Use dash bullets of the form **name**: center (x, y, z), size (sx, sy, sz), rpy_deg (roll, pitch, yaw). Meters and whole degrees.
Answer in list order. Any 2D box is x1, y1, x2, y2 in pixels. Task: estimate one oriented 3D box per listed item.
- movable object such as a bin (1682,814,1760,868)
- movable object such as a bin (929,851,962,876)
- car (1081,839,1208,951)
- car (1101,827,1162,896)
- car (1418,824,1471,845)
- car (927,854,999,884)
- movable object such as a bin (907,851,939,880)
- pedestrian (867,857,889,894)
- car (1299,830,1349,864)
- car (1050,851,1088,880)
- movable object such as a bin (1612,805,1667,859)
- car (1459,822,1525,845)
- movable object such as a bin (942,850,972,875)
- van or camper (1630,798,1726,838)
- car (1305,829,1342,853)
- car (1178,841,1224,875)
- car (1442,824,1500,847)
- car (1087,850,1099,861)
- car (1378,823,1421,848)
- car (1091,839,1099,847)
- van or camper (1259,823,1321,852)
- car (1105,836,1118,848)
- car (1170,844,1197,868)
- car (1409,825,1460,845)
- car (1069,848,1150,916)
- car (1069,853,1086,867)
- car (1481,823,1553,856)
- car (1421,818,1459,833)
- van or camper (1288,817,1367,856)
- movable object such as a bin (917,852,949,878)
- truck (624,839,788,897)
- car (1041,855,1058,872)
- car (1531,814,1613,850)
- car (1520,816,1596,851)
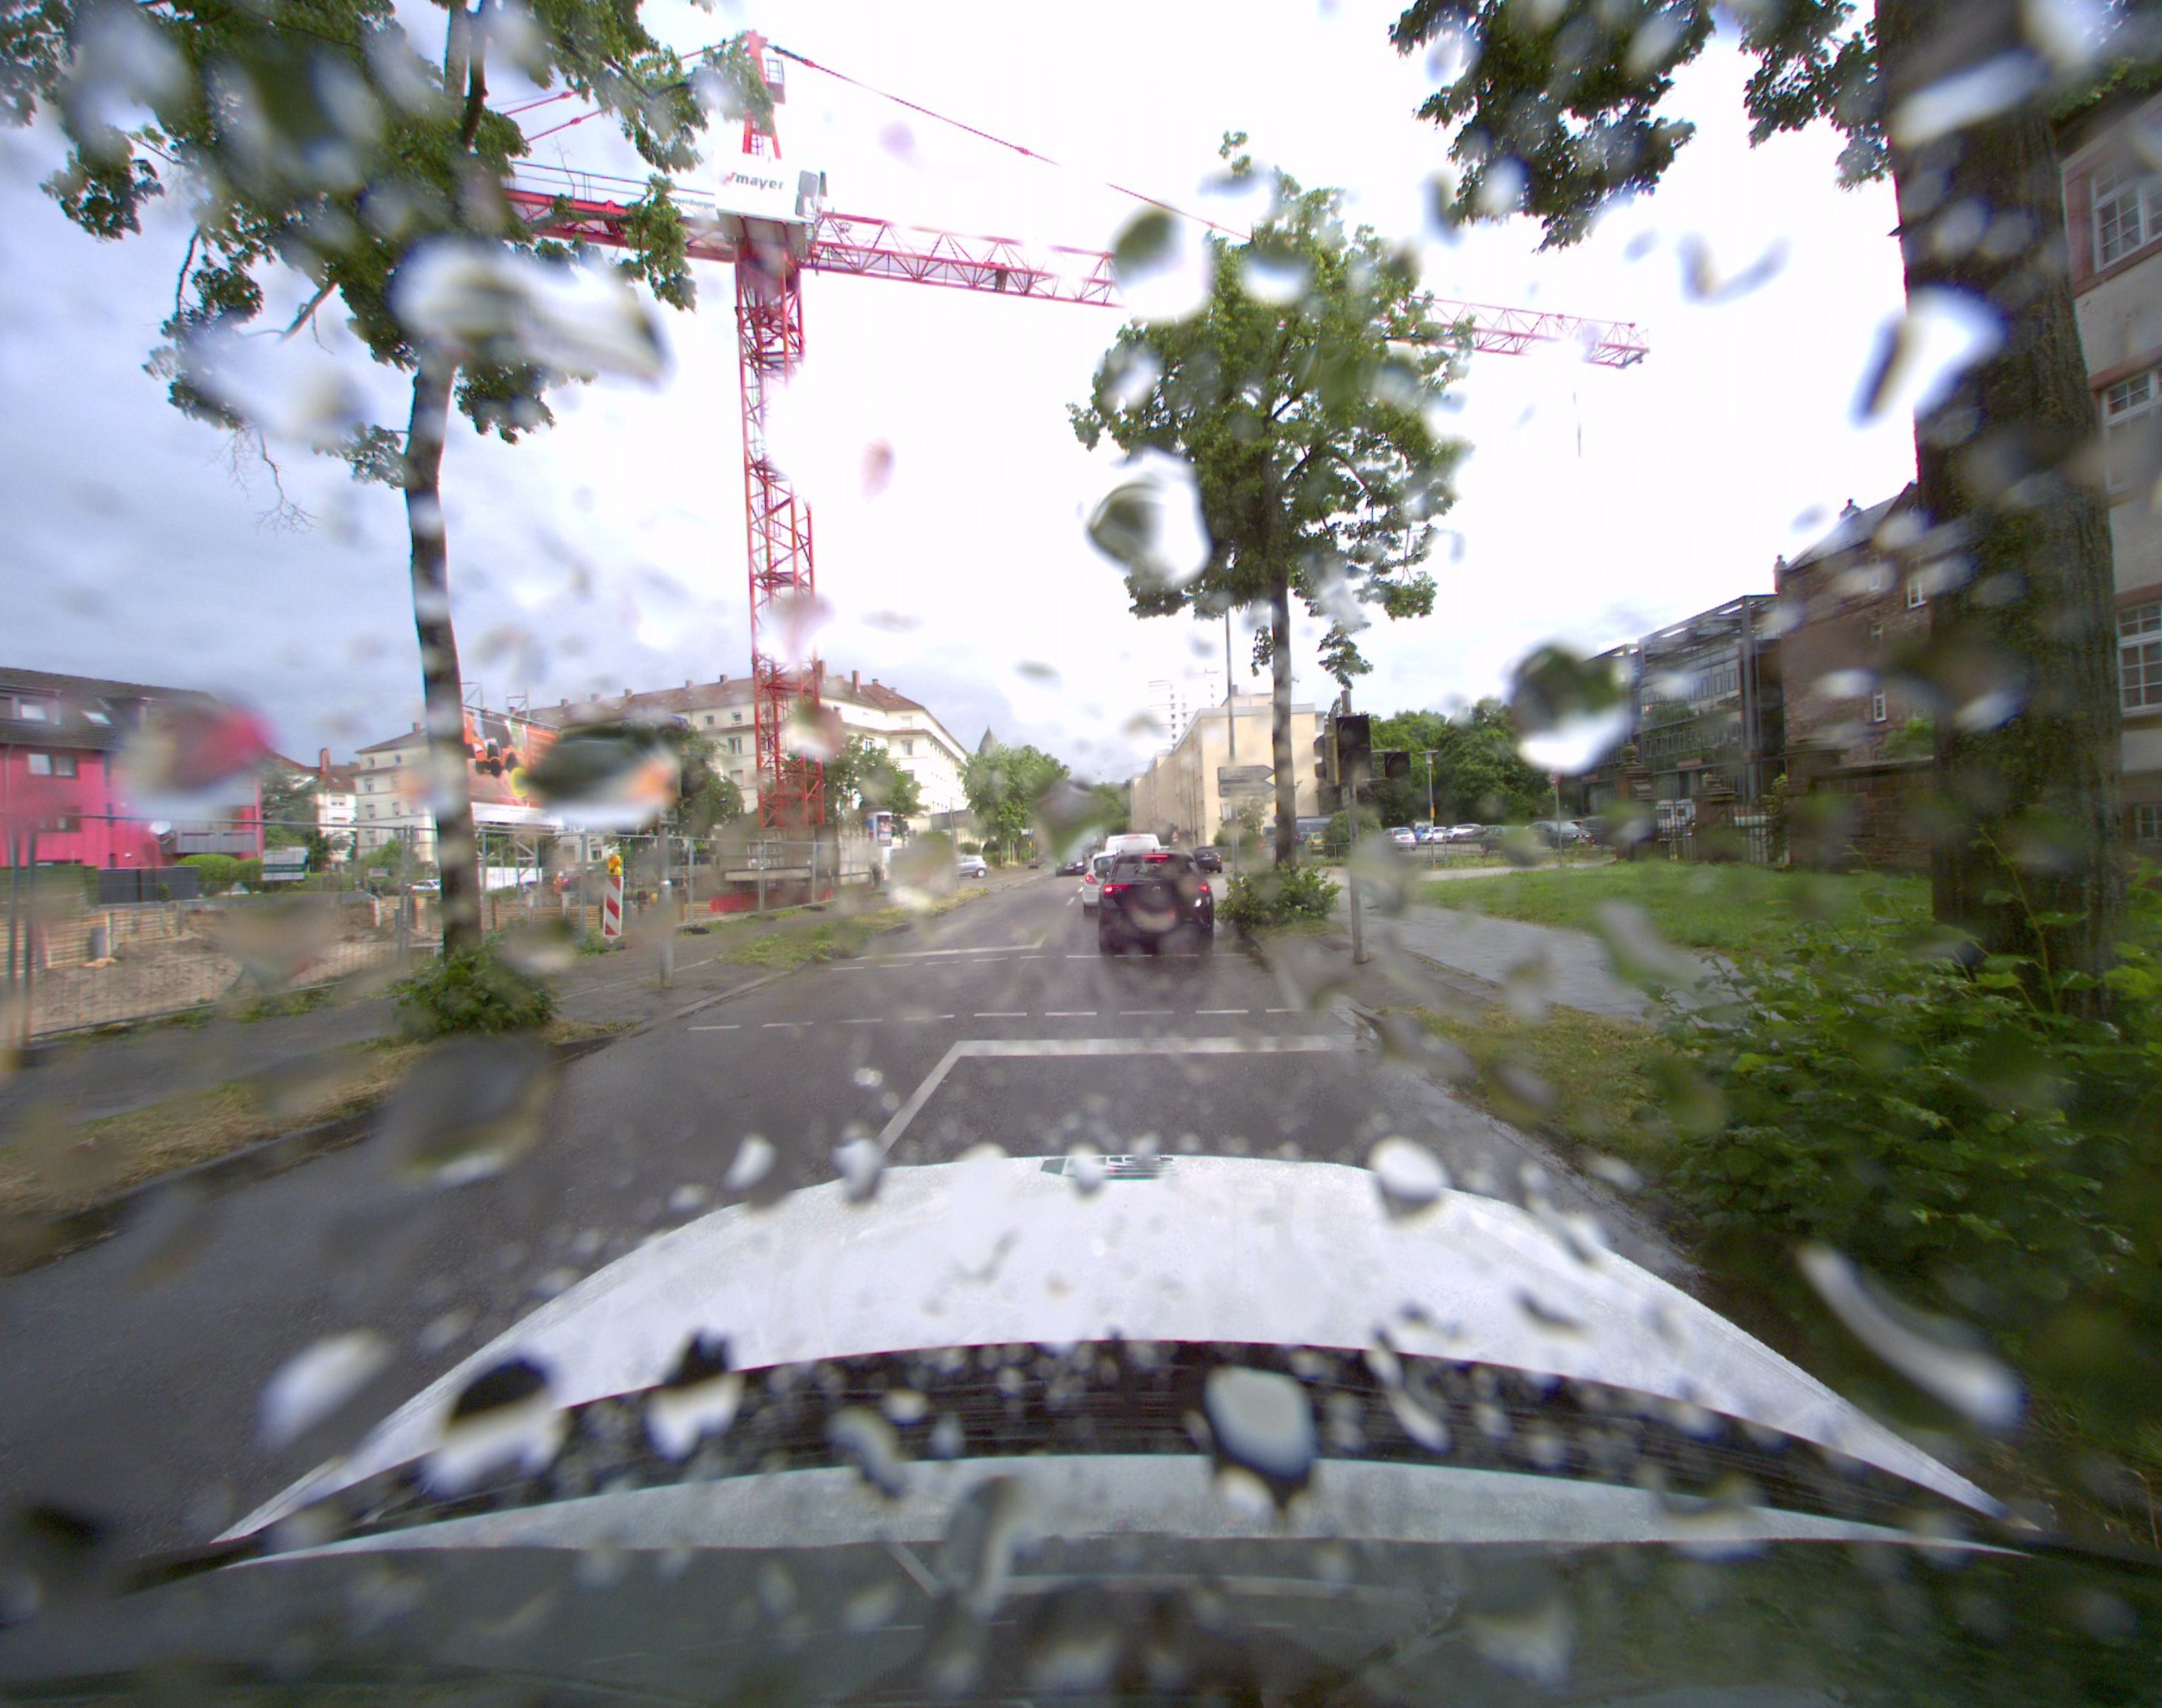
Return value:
- **movable object such as a bin**: center (18.433, -0.370, 23.498), size (1.101, 1.457, 1.392), rpy_deg (-4, 0, 3)
- **movable object such as a bin**: center (-9.668, 0.684, 58.179), size (1.524, 1.674, 1.675), rpy_deg (-3, 1, 21)
- **car**: center (1.026, 0.613, 14.173), size (1.866, 1.645, 4.064), rpy_deg (-1, 0, 2)
- **car**: center (1.690, 0.243, 26.778), size (1.828, 2.103, 4.004), rpy_deg (-1, 0, 4)
- **car**: center (30.344, -1.605, 68.081), size (3.649, 1.486, 1.642), rpy_deg (-3, 0, 5)
- **car**: center (-7.388, 0.930, 50.913), size (4.007, 1.637, 1.879), rpy_deg (-3, -1, -25)
- **movable object such as a bin**: center (-10.683, 0.773, 55.103), size (1.524, 1.824, 1.270), rpy_deg (-3, 1, 21)
- **pedestrian**: center (-9.243, 0.974, 37.073), size (0.727, 1.629, 0.677), rpy_deg (0, -1, -35)
- **car**: center (13.724, -0.411, 46.238), size (1.795, 1.749, 4.244), rpy_deg (-3, 0, 5)
- **car**: center (-0.651, 0.621, 47.248), size (1.805, 1.540, 3.987), rpy_deg (-2, 0, 4)
- **movable object such as a bin**: center (16.026, -0.615, 23.388), size (0.796, 1.457, 1.098), rpy_deg (-4, 0, 3)
- **car**: center (30.474, -1.528, 60.471), size (3.957, 1.465, 1.674), rpy_deg (-3, 0, 3)
- **movable object such as a bin**: center (-9.102, 0.603, 59.680), size (1.524, 1.661, 1.466), rpy_deg (-3, 1, 21)
- **van or camper**: center (39.880, -2.387, 54.490), size (4.768, 2.486, 2.259), rpy_deg (-1, -1, 1)
- **car**: center (16.287, -0.858, 54.778), size (1.604, 1.448, 3.420), rpy_deg (-3, 0, 3)
- **car**: center (6.345, 0.173, 43.389), size (1.768, 1.539, 4.379), rpy_deg (-5, 0, 1)
- **car**: center (29.995, -1.416, 62.750), size (3.649, 1.486, 1.642), rpy_deg (-3, 0, 5)
- **car**: center (1.882, 0.246, 126.659), size (1.733, 1.607, 3.679), rpy_deg (-4, 0, 3)
- **car**: center (21.111, -1.192, 54.056), size (1.641, 1.486, 3.724), rpy_deg (-3, 0, 5)
- **car**: center (3.184, -2.484, 185.850), size (1.660, 1.837, 4.000), rpy_deg (-3, 1, 0)
- **van or camper**: center (17.547, -1.386, 68.610), size (4.736, 2.131, 2.325), rpy_deg (-3, 1, 5)
- **car**: center (4.590, -1.814, 122.822), size (1.833, 1.607, 3.679), rpy_deg (-4, 0, 3)
- **car**: center (6.861, 0.155, 54.839), size (1.748, 1.528, 4.006), rpy_deg (1, -1, 6)
- **car**: center (30.577, -1.600, 70.509), size (3.649, 1.486, 1.642), rpy_deg (-3, 0, 5)
- **car**: center (0.733, 0.647, 20.377), size (1.806, 1.503, 4.002), rpy_deg (-1, 0, 2)
- **car**: center (-0.429, 0.757, 104.711), size (1.833, 1.607, 4.004), rpy_deg (-4, 0, 3)
- **car**: center (22.729, -0.759, 42.650), size (1.819, 1.527, 4.432), rpy_deg (-3, 0, 7)
- **car**: center (36.788, -2.922, 83.597), size (3.209, 1.397, 1.511), rpy_deg (-3, 0, 5)
- **van or camper**: center (17.614, -1.242, 58.304), size (4.977, 2.554, 2.177), rpy_deg (-2, -1, 3)
- **movable object such as a bin**: center (-10.266, 0.746, 56.633), size (1.524, 1.656, 1.536), rpy_deg (-3, 1, 21)
- **truck**: center (-24.501, 0.912, 53.226), size (9.729, 3.184, 3.812), rpy_deg (-3, 0, 20)
- **car**: center (-3.245, 0.954, 83.655), size (1.582, 1.505, 4.061), rpy_deg (-4, 0, -2)
- **car**: center (25.748, -1.142, 42.860), size (1.845, 1.679, 4.429), rpy_deg (-3, 0, 4)
- **car**: center (24.996, -1.051, 42.835), size (1.843, 1.679, 4.433), rpy_deg (-3, 0, 8)
